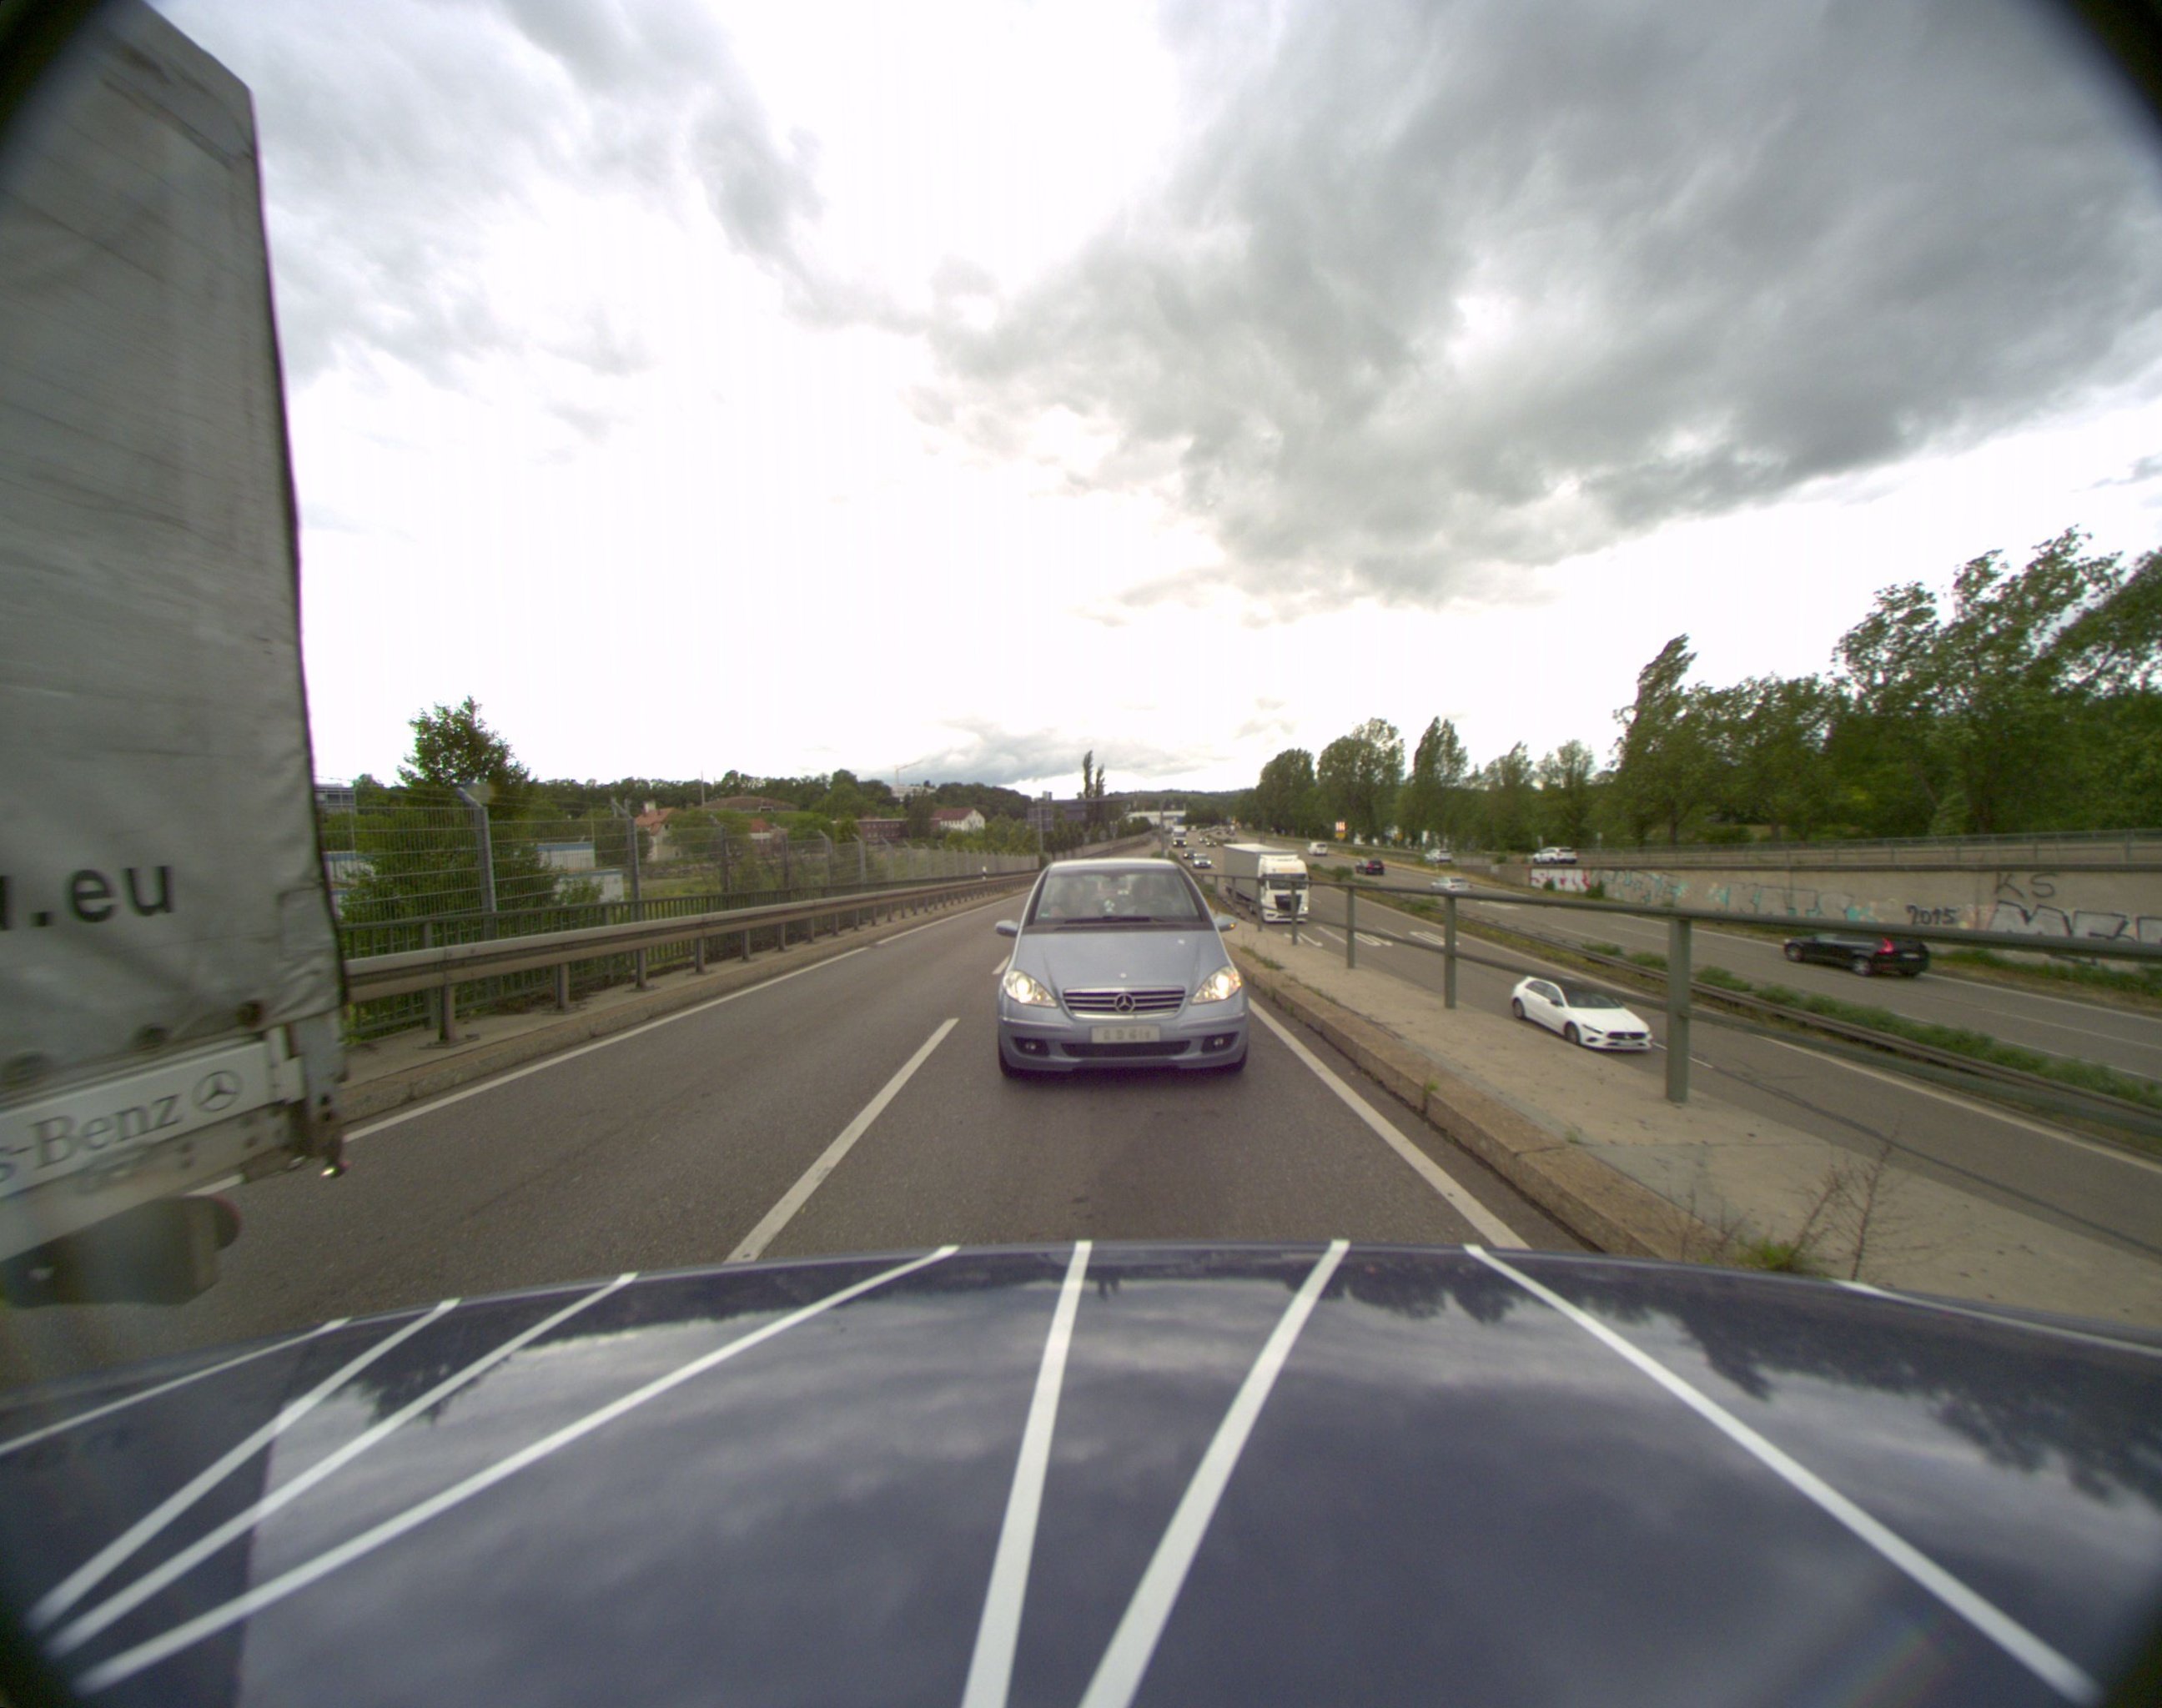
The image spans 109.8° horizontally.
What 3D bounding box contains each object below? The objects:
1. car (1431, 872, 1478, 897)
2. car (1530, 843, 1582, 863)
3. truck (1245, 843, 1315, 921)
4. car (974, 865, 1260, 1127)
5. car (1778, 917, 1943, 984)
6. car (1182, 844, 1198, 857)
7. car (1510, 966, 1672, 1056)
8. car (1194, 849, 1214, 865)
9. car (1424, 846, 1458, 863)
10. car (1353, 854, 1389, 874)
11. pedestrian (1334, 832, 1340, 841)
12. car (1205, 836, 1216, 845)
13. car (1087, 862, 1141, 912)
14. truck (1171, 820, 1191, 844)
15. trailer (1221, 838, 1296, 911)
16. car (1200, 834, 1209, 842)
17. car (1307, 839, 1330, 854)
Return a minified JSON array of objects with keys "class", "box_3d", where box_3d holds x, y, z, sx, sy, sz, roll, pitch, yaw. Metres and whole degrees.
[{"class":"car","box_3d":[28.368,2.284,57.841,1.732,1.520,4.086,0,3,4]},{"class":"car","box_3d":[40.488,-0.078,64.915,1.837,1.567,4.347,-1,0,3]},{"class":"truck","box_3d":[12.091,1.562,46.682,2.758,4.228,6.695,0,3,2]},{"class":"car","box_3d":[0.314,0.944,6.845,1.780,1.578,4.001,-1,0,3]},{"class":"car","box_3d":[30.432,3.690,29.897,1.936,1.831,4.408,-1,3,1]},{"class":"car","box_3d":[15.735,-0.514,109.758,1.858,1.598,4.164,0,3,2]},{"class":"car","box_3d":[14.228,4.327,21.564,1.919,1.411,4.275,-1,4,4]},{"class":"car","box_3d":[14.605,0.370,90.515,1.858,1.598,4.164,-1,3,2]},{"class":"car","box_3d":[41.992,0.070,88.818,1.998,1.859,4.213,-1,0,1]},{"class":"car","box_3d":[29.776,0.990,78.156,1.920,1.729,4.550,-1,3,0]},{"class":"pedestrian","box_3d":[53.464,-3.684,158.532,0.831,1.696,1.077,-2,4,3]},{"class":"car","box_3d":[26.087,-2.742,153.116,1.858,1.598,4.165,-1,2,4]},{"class":"car","box_3d":[1.255,1.140,27.470,1.780,1.578,4.001,-1,0,4]},{"class":"truck","box_3d":[20.180,-4.550,153.915,3.179,4.501,11.121,-1,3,4]},{"class":"trailer","box_3d":[12.393,1.159,54.459,2.758,4.228,13.146,0,3,2]},{"class":"car","box_3d":[29.213,-3.767,179.814,1.857,1.598,4.166,-1,3,7]},{"class":"car","box_3d":[35.529,-1.189,113.864,1.998,2.056,5.175,-2,3,2]}]
